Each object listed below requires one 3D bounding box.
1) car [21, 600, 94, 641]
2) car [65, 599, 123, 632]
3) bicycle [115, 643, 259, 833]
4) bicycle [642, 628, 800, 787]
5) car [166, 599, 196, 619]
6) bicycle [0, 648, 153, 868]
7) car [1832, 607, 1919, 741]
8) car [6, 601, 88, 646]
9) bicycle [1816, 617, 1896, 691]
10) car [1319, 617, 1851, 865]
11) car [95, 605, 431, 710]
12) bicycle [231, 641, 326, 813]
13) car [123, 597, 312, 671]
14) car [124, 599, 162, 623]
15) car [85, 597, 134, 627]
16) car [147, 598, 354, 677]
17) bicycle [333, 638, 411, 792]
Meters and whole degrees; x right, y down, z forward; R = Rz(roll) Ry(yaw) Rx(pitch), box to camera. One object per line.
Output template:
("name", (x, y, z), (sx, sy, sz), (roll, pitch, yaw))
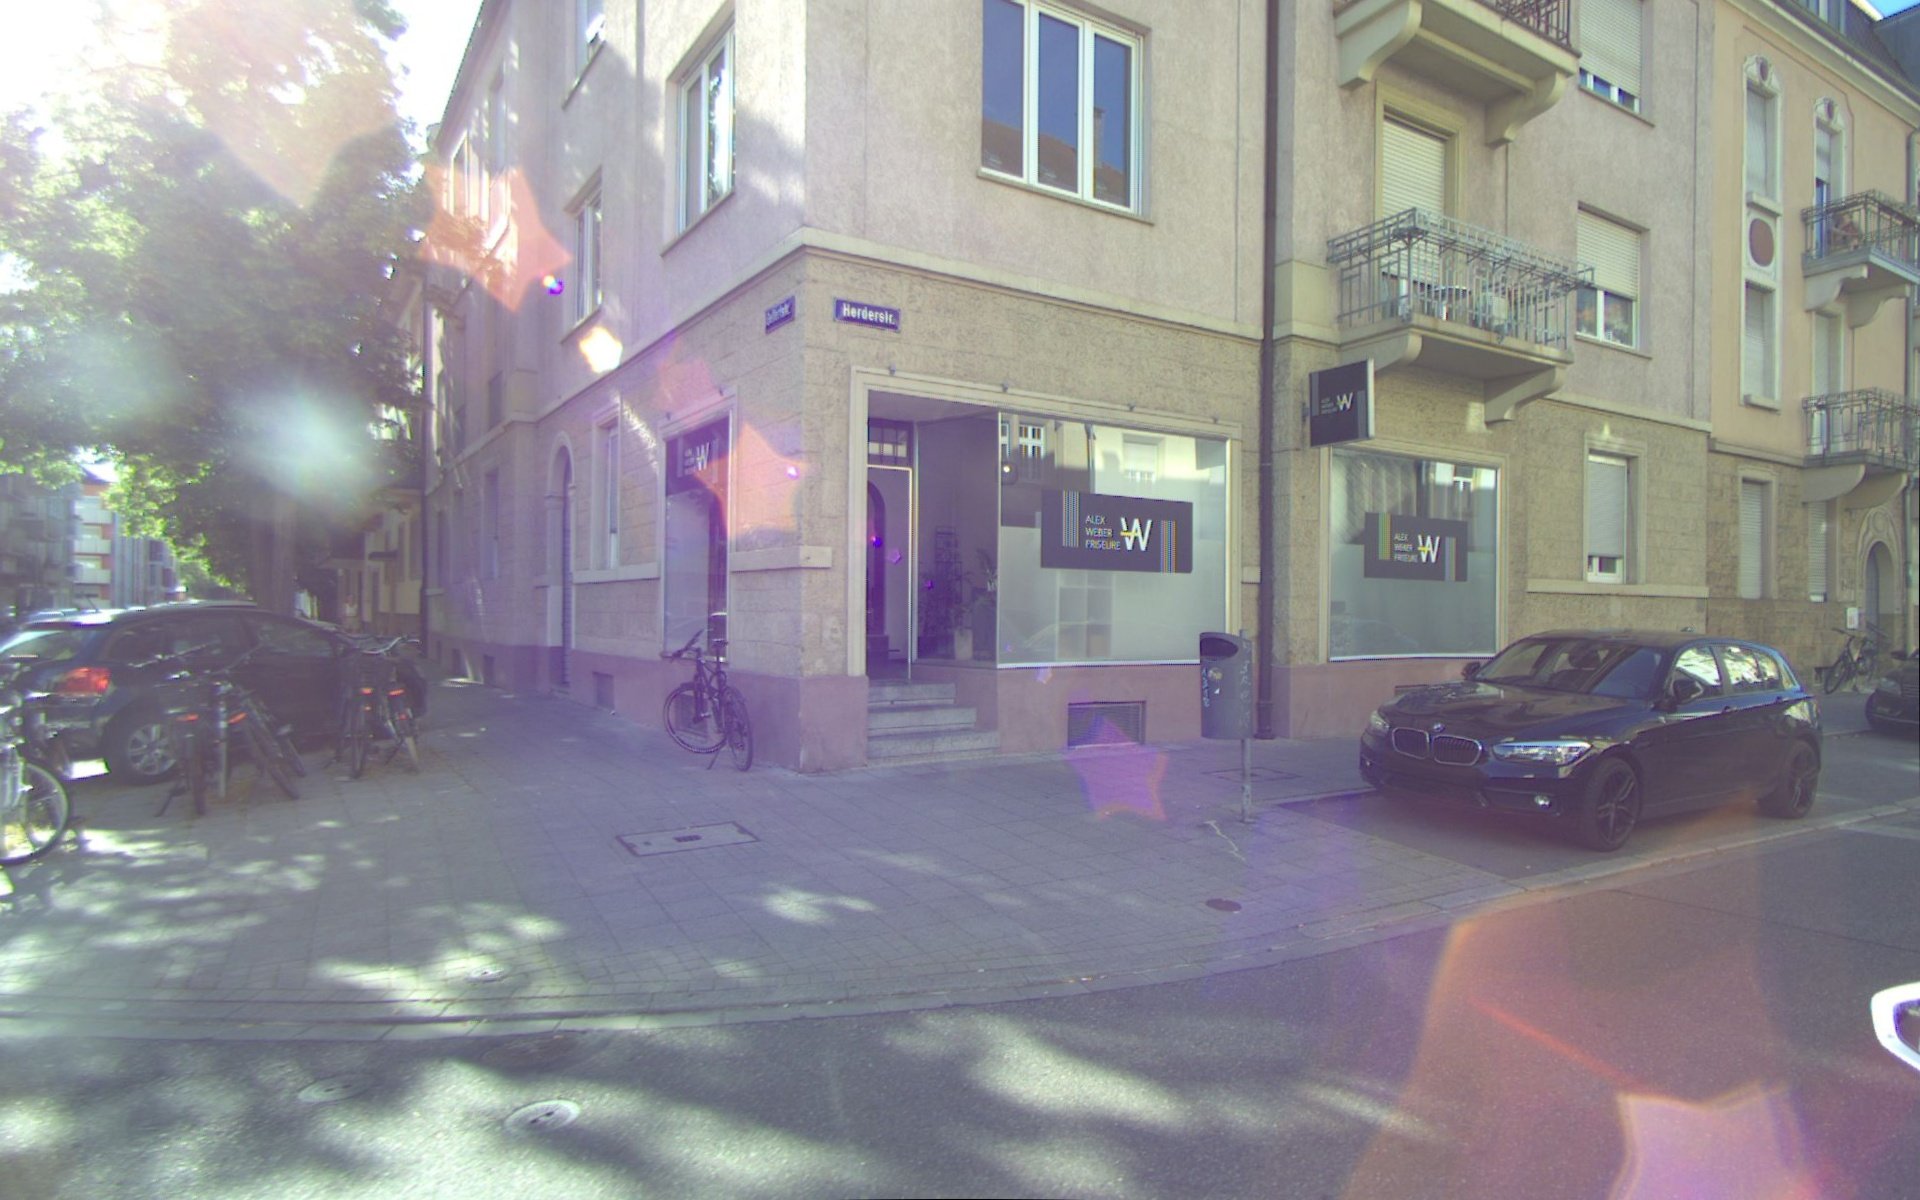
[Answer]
("car", (-41.915, 0.928, 46.752), (2.089, 1.790, 4.463), (0, 0, -37))
("car", (-47.894, 0.835, 55.657), (2.089, 1.790, 4.463), (0, 0, -37))
("bicycle", (-5.700, 0.940, 7.496), (0.519, 1.151, 1.890), (-1, 1, -28))
("bicycle", (-2.128, 0.862, 8.760), (0.642, 1.151, 1.884), (-2, 2, -36))
("car", (-71.608, 0.803, 92.400), (2.089, 1.790, 4.463), (0, 0, -37))
("bicycle", (-5.849, 0.936, 6.475), (0.640, 1.151, 1.890), (-1, 1, -28))
("car", (13.722, 0.972, 13.300), (4.436, 1.603, 1.993), (1, 1, -31))
("car", (-38.230, 0.948, 42.153), (2.089, 1.790, 4.463), (0, 0, -37))
("bicycle", (16.704, 0.979, 18.719), (1.844, 1.319, 0.538), (1, 1, -30))
("car", (4.986, 0.926, 7.902), (4.221, 1.445, 1.672), (1, 1, -29))
("car", (-11.139, 0.819, 16.391), (1.674, 1.458, 4.205), (0, 0, 31))
("bicycle", (-5.453, 0.943, 8.102), (0.520, 1.151, 1.888), (-2, 1, -32))
("car", (-18.683, 0.792, 25.366), (1.680, 1.690, 3.588), (1, 1, 43))
("car", (-64.423, 0.839, 79.237), (2.089, 1.790, 4.463), (0, 0, -37))
("car", (-53.862, 0.742, 63.693), (2.089, 1.790, 4.463), (0, 0, -37))
("car", (-16.074, 0.781, 22.862), (1.680, 1.630, 3.588), (1, 1, 43))
("bicycle", (-5.225, 0.946, 8.894), (0.520, 1.151, 1.888), (-2, 1, -32))
